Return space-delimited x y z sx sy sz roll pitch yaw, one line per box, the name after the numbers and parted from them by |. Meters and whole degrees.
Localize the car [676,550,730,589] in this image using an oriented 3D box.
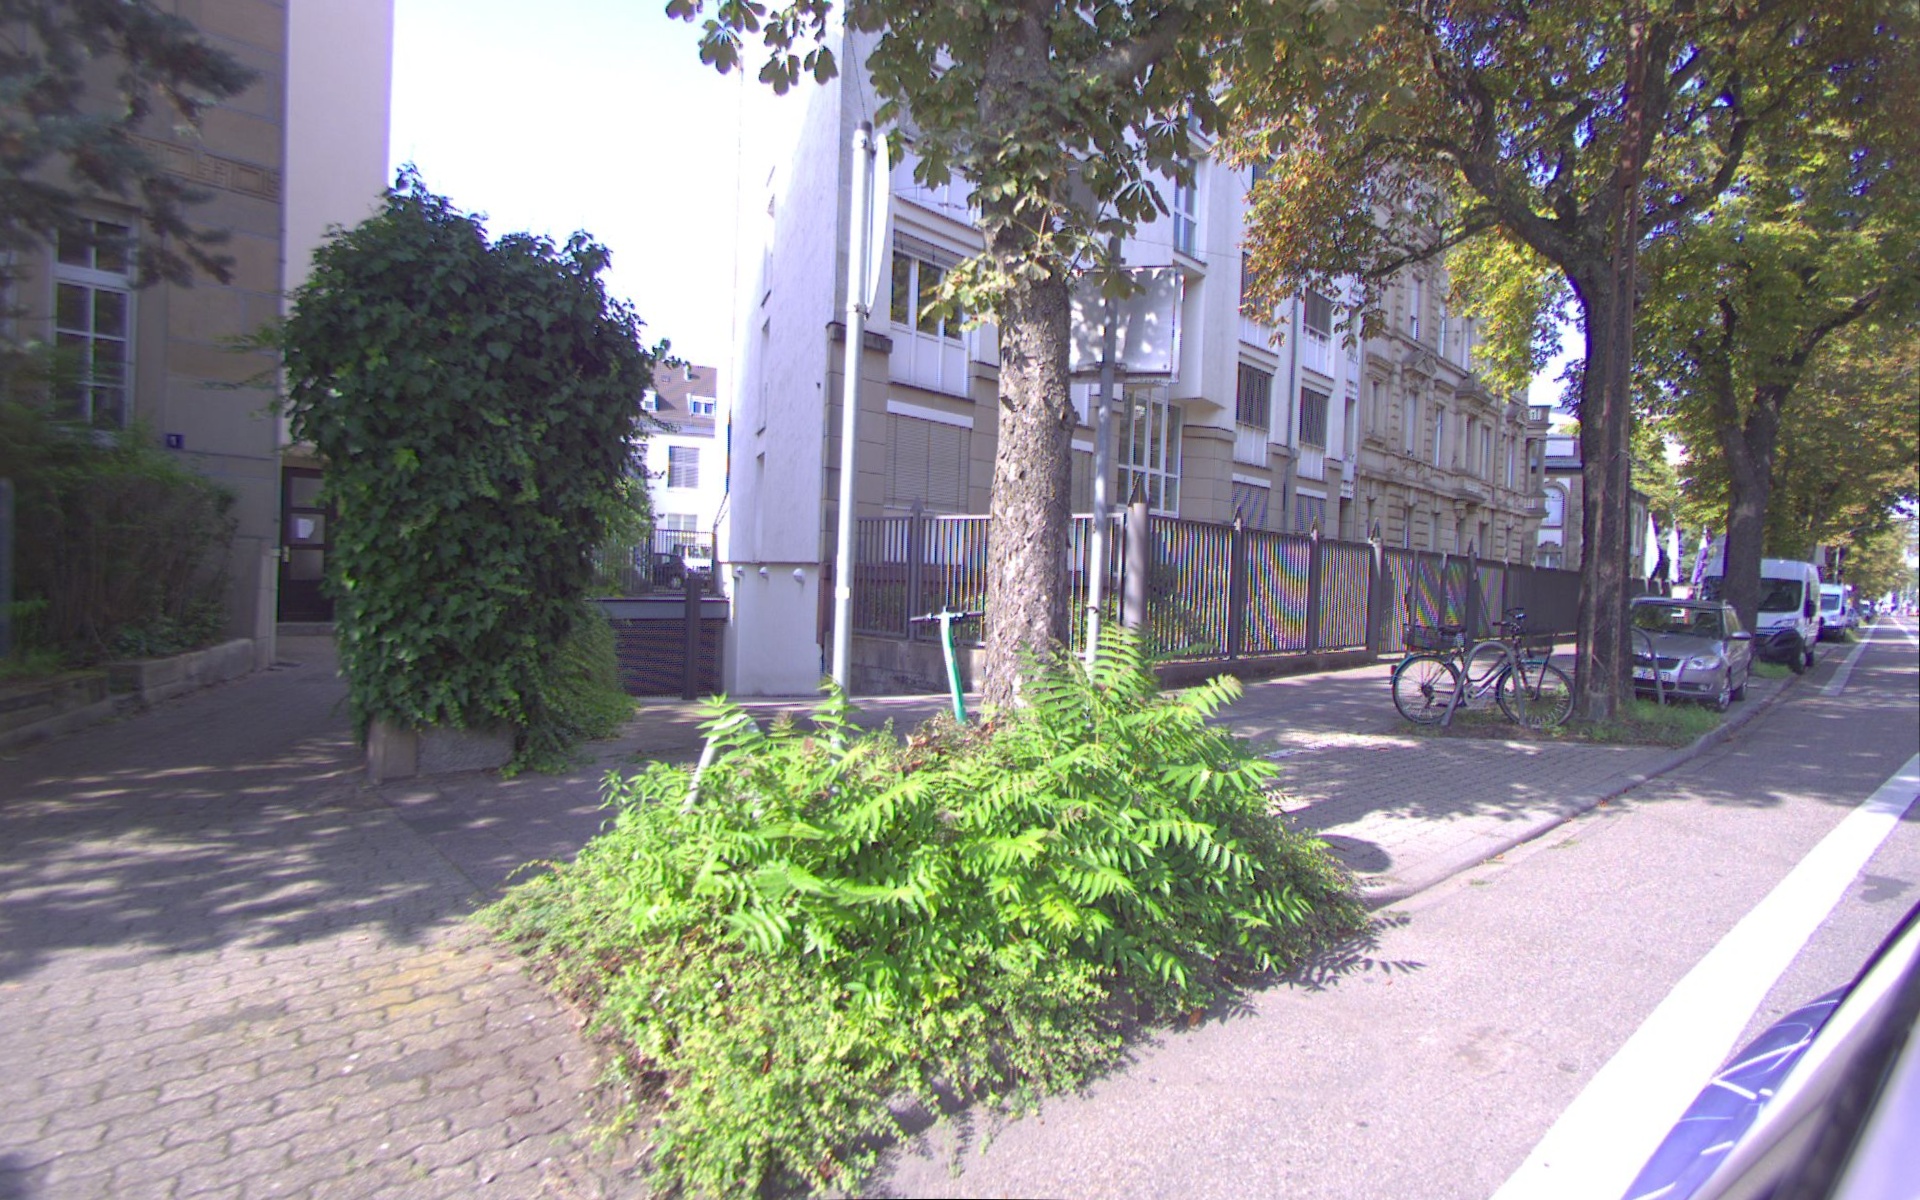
-11.500 -1.378 45.134 1.797 1.585 4.009 1 2 -21 | car

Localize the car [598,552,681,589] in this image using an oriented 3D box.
-12.680 -1.166 40.085 3.061 1.372 1.409 1 2 -19 | car

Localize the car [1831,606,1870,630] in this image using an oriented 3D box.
55.795 1.089 63.413 1.752 1.374 3.730 4 2 42 | car

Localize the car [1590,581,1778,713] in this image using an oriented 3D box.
10.857 0.599 15.048 1.608 1.542 4.289 8 5 43 | car

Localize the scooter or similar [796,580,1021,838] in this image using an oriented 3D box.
-0.266 0.531 5.444 1.016 1.211 0.559 1 5 -41 | scooter or similar

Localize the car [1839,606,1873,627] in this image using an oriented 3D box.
64.861 1.174 73.261 1.752 1.374 3.730 4 2 42 | car

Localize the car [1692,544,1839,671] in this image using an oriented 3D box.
18.785 0.125 23.464 2.046 2.529 6.131 4 3 43 | car

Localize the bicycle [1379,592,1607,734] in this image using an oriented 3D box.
5.214 0.601 9.984 1.809 1.179 0.505 4 7 4 | bicycle

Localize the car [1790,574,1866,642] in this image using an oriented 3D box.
36.862 0.333 42.920 1.995 2.572 5.774 6 4 44 | car

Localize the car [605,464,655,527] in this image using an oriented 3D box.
-16.162 -5.014 49.411 1.958 2.689 4.991 1 2 -22 | car
